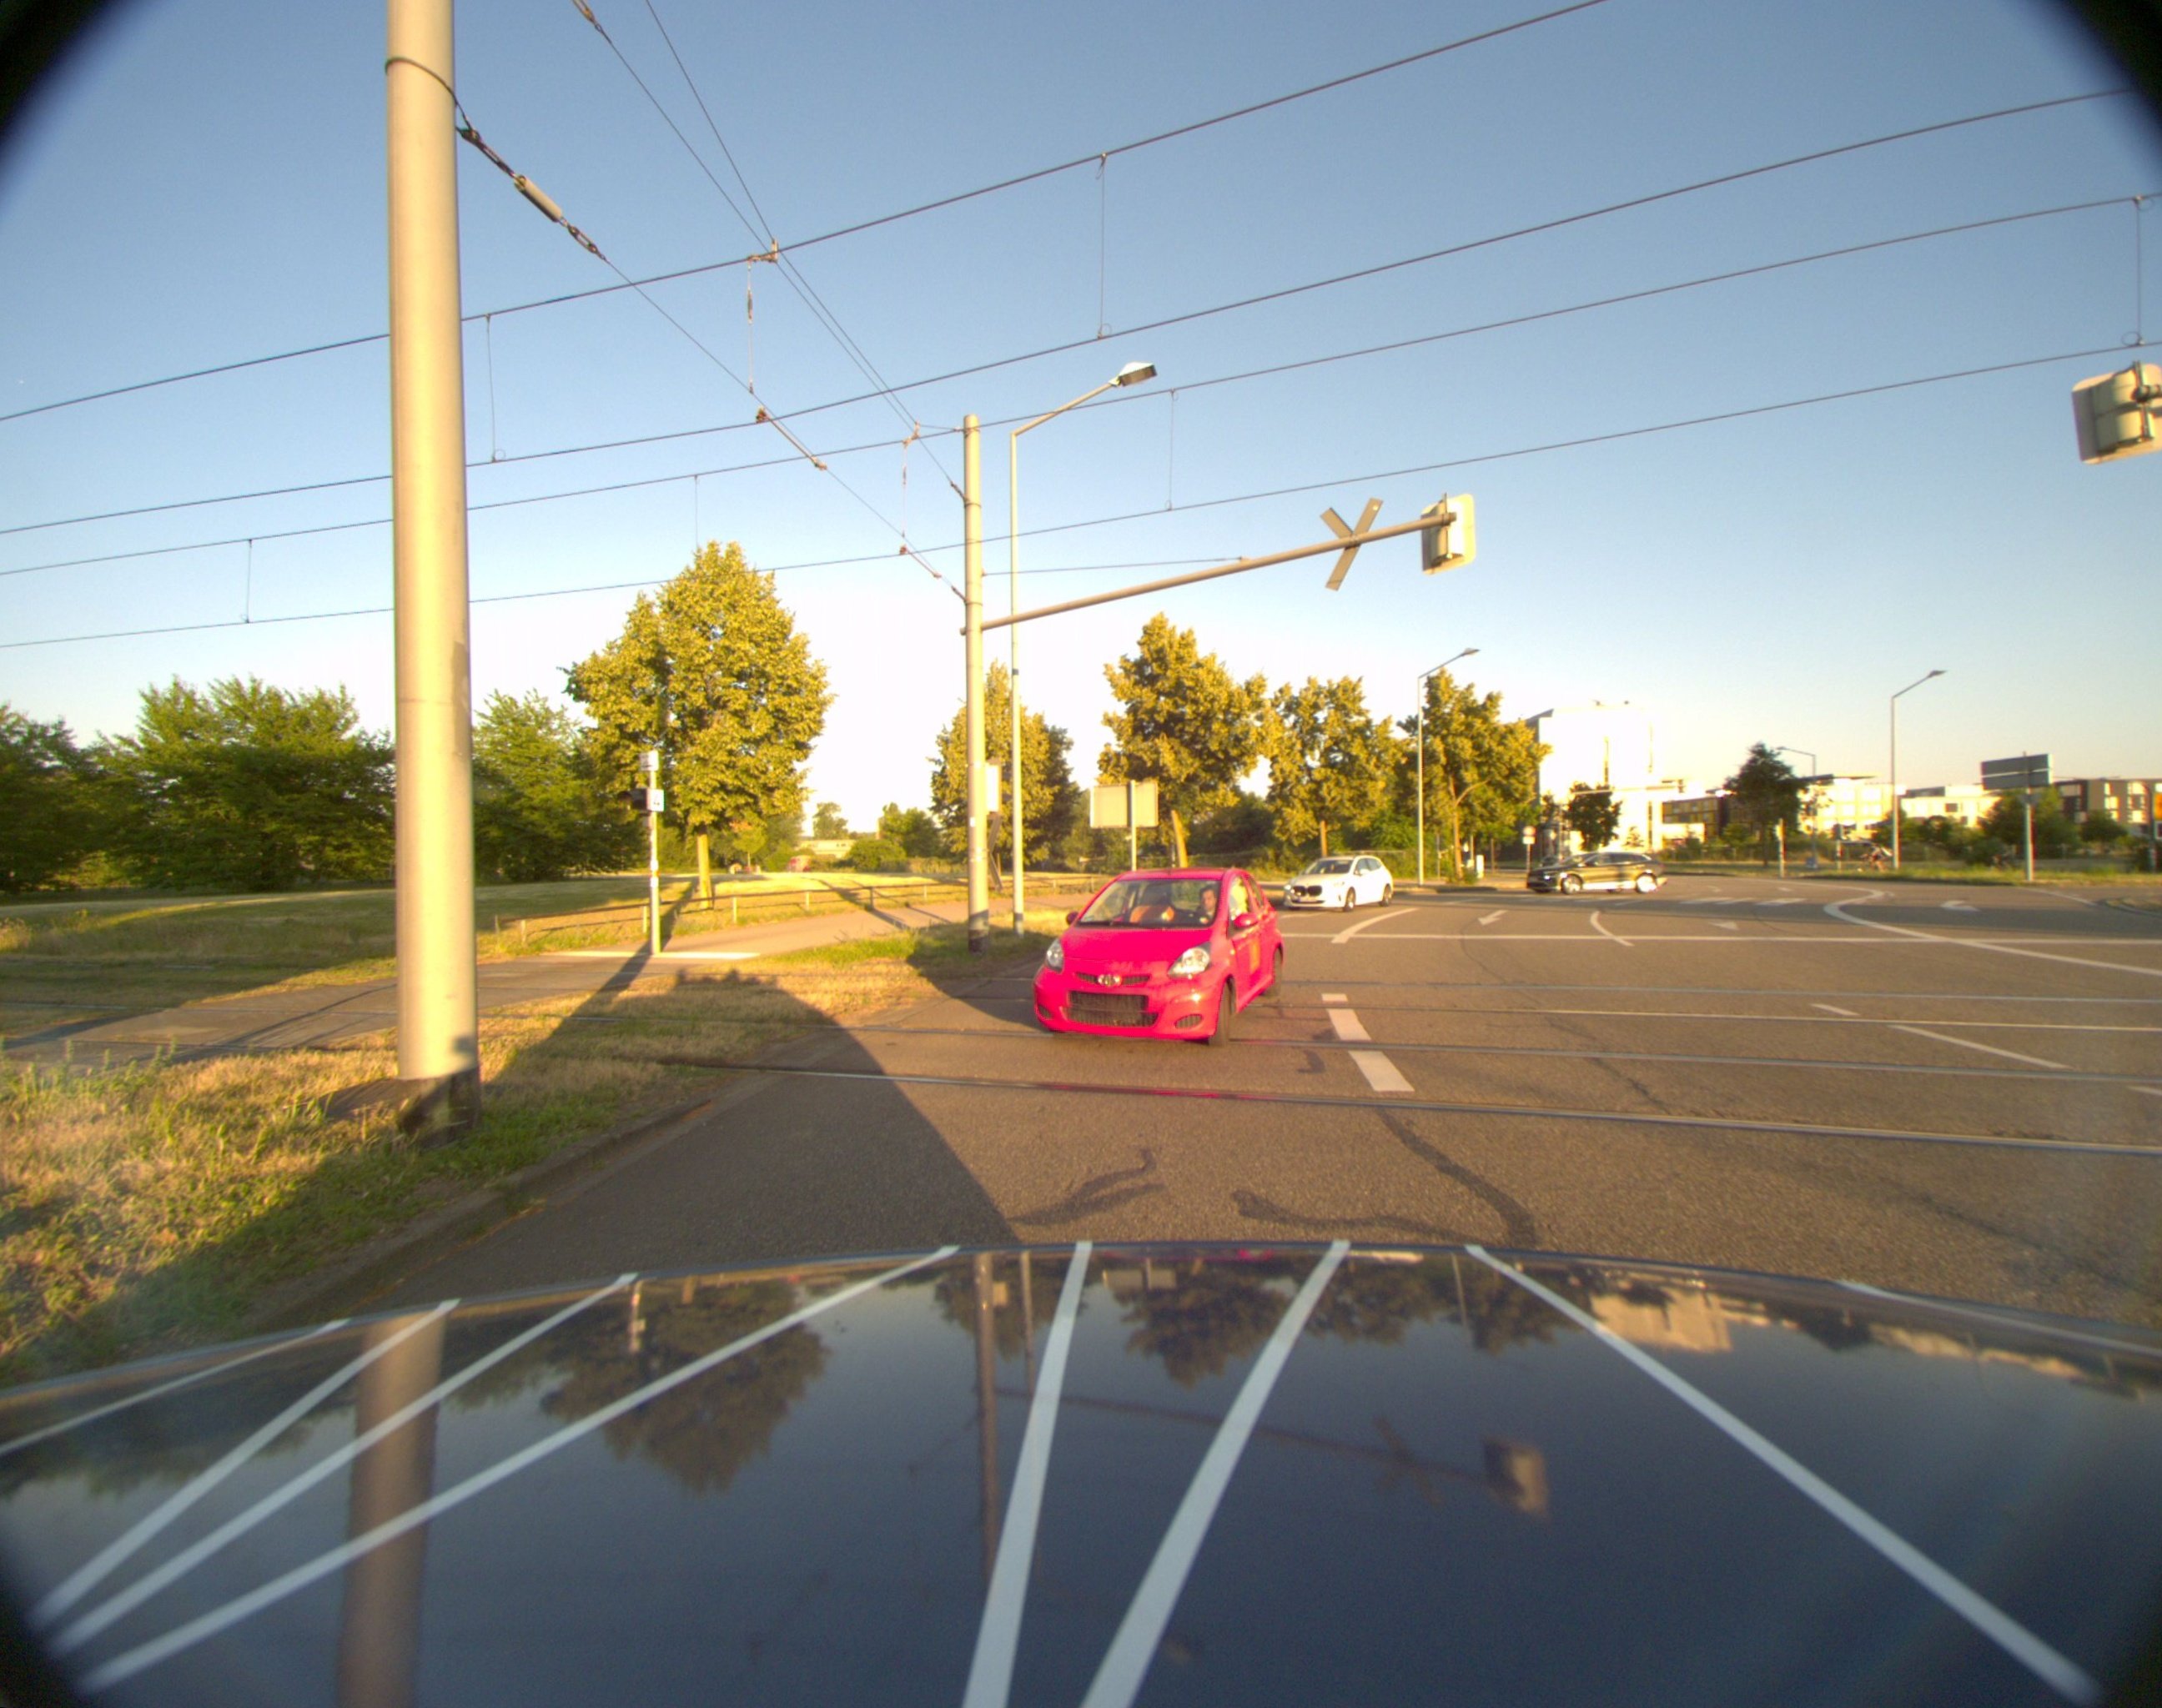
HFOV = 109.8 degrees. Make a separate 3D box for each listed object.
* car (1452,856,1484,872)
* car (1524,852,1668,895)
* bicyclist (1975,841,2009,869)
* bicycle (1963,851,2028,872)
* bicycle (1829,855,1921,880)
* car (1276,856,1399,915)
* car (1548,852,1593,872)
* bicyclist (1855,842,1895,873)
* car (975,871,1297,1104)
[{"bbox_3d":[42.063,1.096,82.684,1.870,1.616,4.195,-1,1,8],"label":"car"},{"bbox_3d":[19.267,0.714,28.553,4.212,1.549,1.828,-1,0,-1],"label":"car"},{"bbox_3d":[52.725,0.067,43.982,0.999,1.623,0.812,-1,1,17],"label":"bicyclist"},{"bbox_3d":[52.861,0.447,43.954,2.324,1.172,0.812,-1,1,17],"label":"bicycle"},{"bbox_3d":[45.383,0.756,43.510,3.529,1.387,1.126,-1,1,39],"label":"bicycle"},{"bbox_3d":[7.548,0.845,22.157,1.755,1.549,4.224,-1,0,44],"label":"car"},{"bbox_3d":[42.628,0.682,66.277,1.870,1.616,4.196,-1,1,11],"label":"car"},{"bbox_3d":[45.414,0.199,43.481,1.413,1.739,1.126,0,1,39],"label":"bicyclist"},{"bbox_3d":[0.865,0.967,7.398,1.690,1.413,4.217,-2,1,25],"label":"car"}]
